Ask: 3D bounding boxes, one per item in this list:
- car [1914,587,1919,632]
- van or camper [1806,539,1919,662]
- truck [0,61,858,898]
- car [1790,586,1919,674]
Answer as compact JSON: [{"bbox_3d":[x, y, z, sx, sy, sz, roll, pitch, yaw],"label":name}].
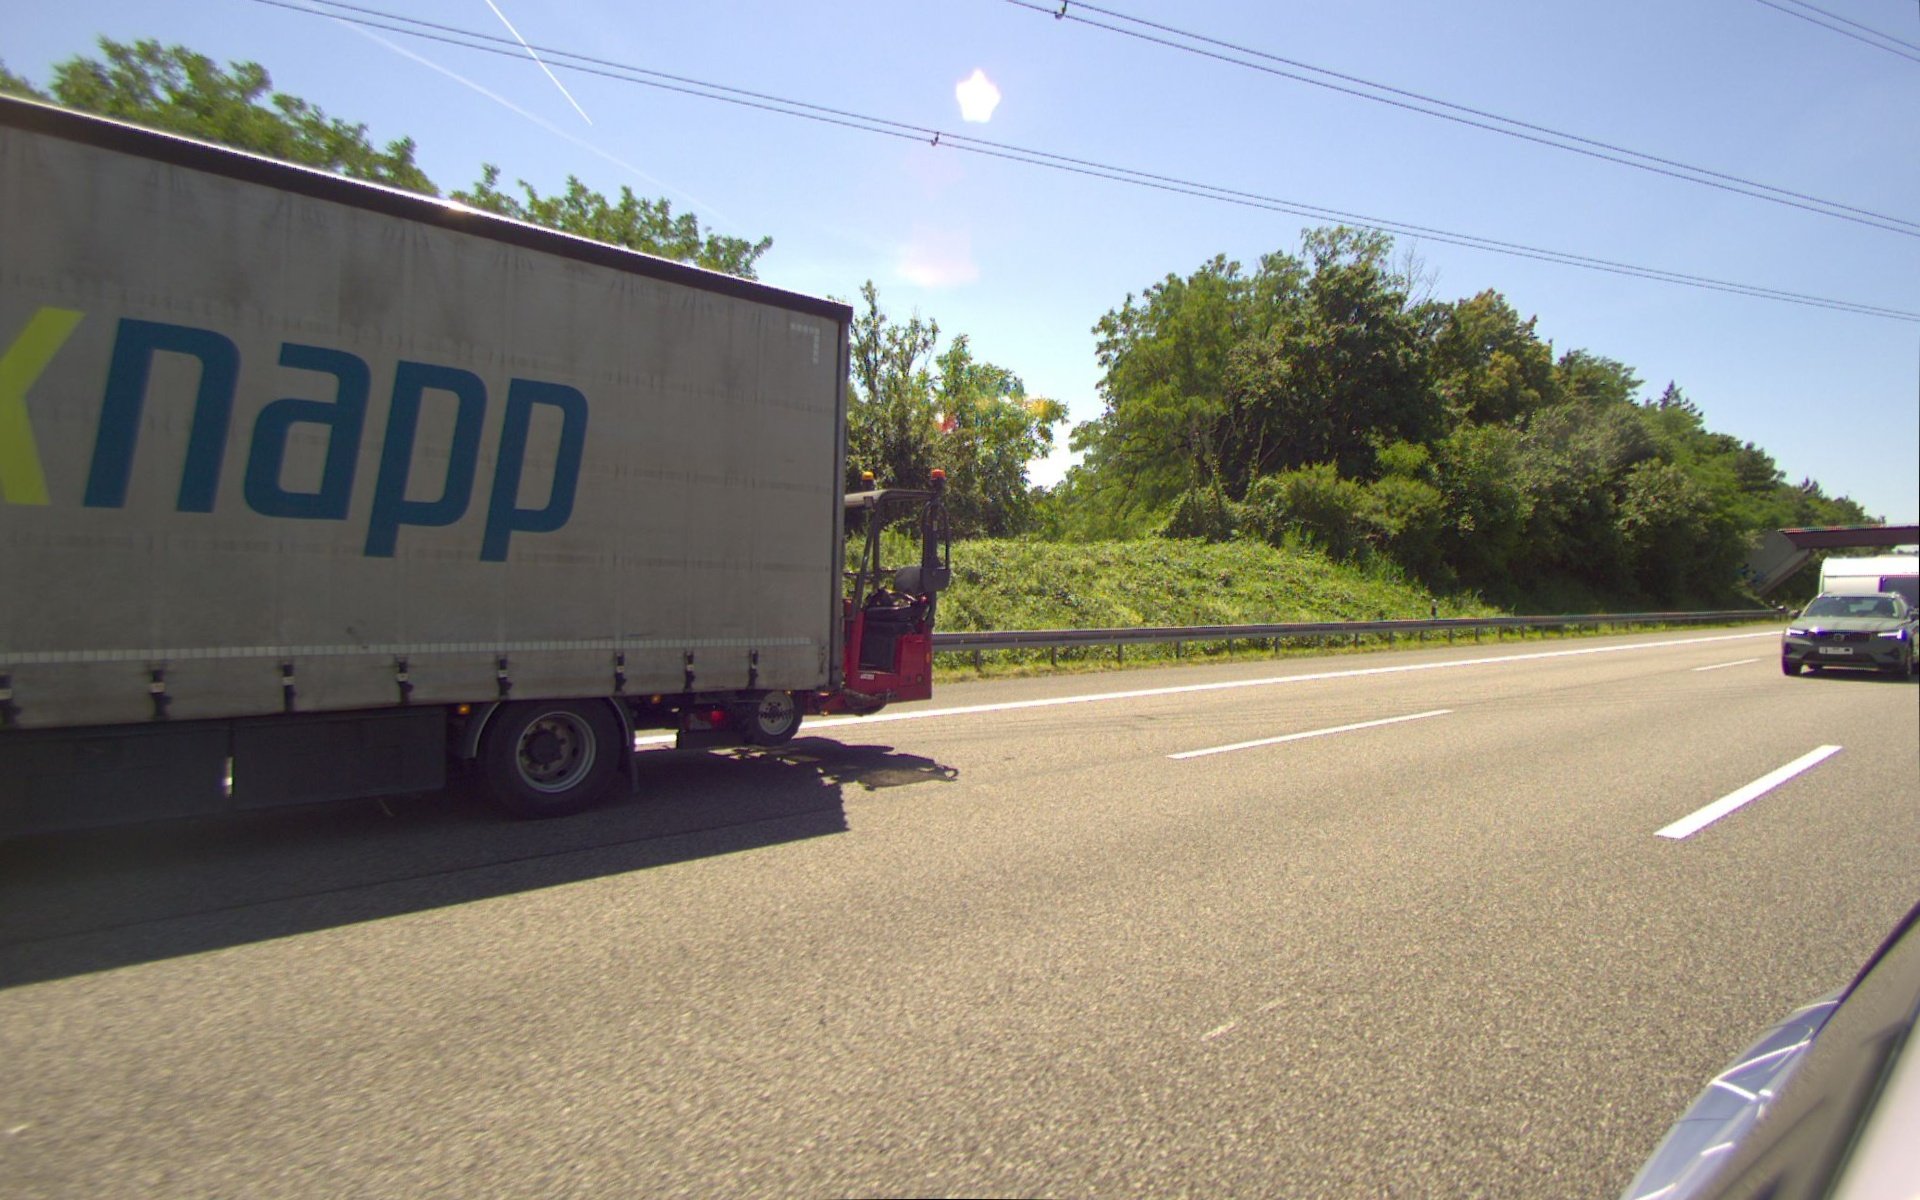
[{"bbox_3d":[35.427,0.366,35.974,3.740,1.561,1.802,0,2,-41],"label":"car"},{"bbox_3d":[21.649,-0.018,23.252,6.319,2.529,2.410,0,1,-41],"label":"van or camper"},{"bbox_3d":[-5.146,-0.559,5.275,9.867,3.819,1.986,0,0,-41],"label":"truck"},{"bbox_3d":[17.791,0.507,19.761,4.033,1.549,1.786,0,1,-41],"label":"car"}]
